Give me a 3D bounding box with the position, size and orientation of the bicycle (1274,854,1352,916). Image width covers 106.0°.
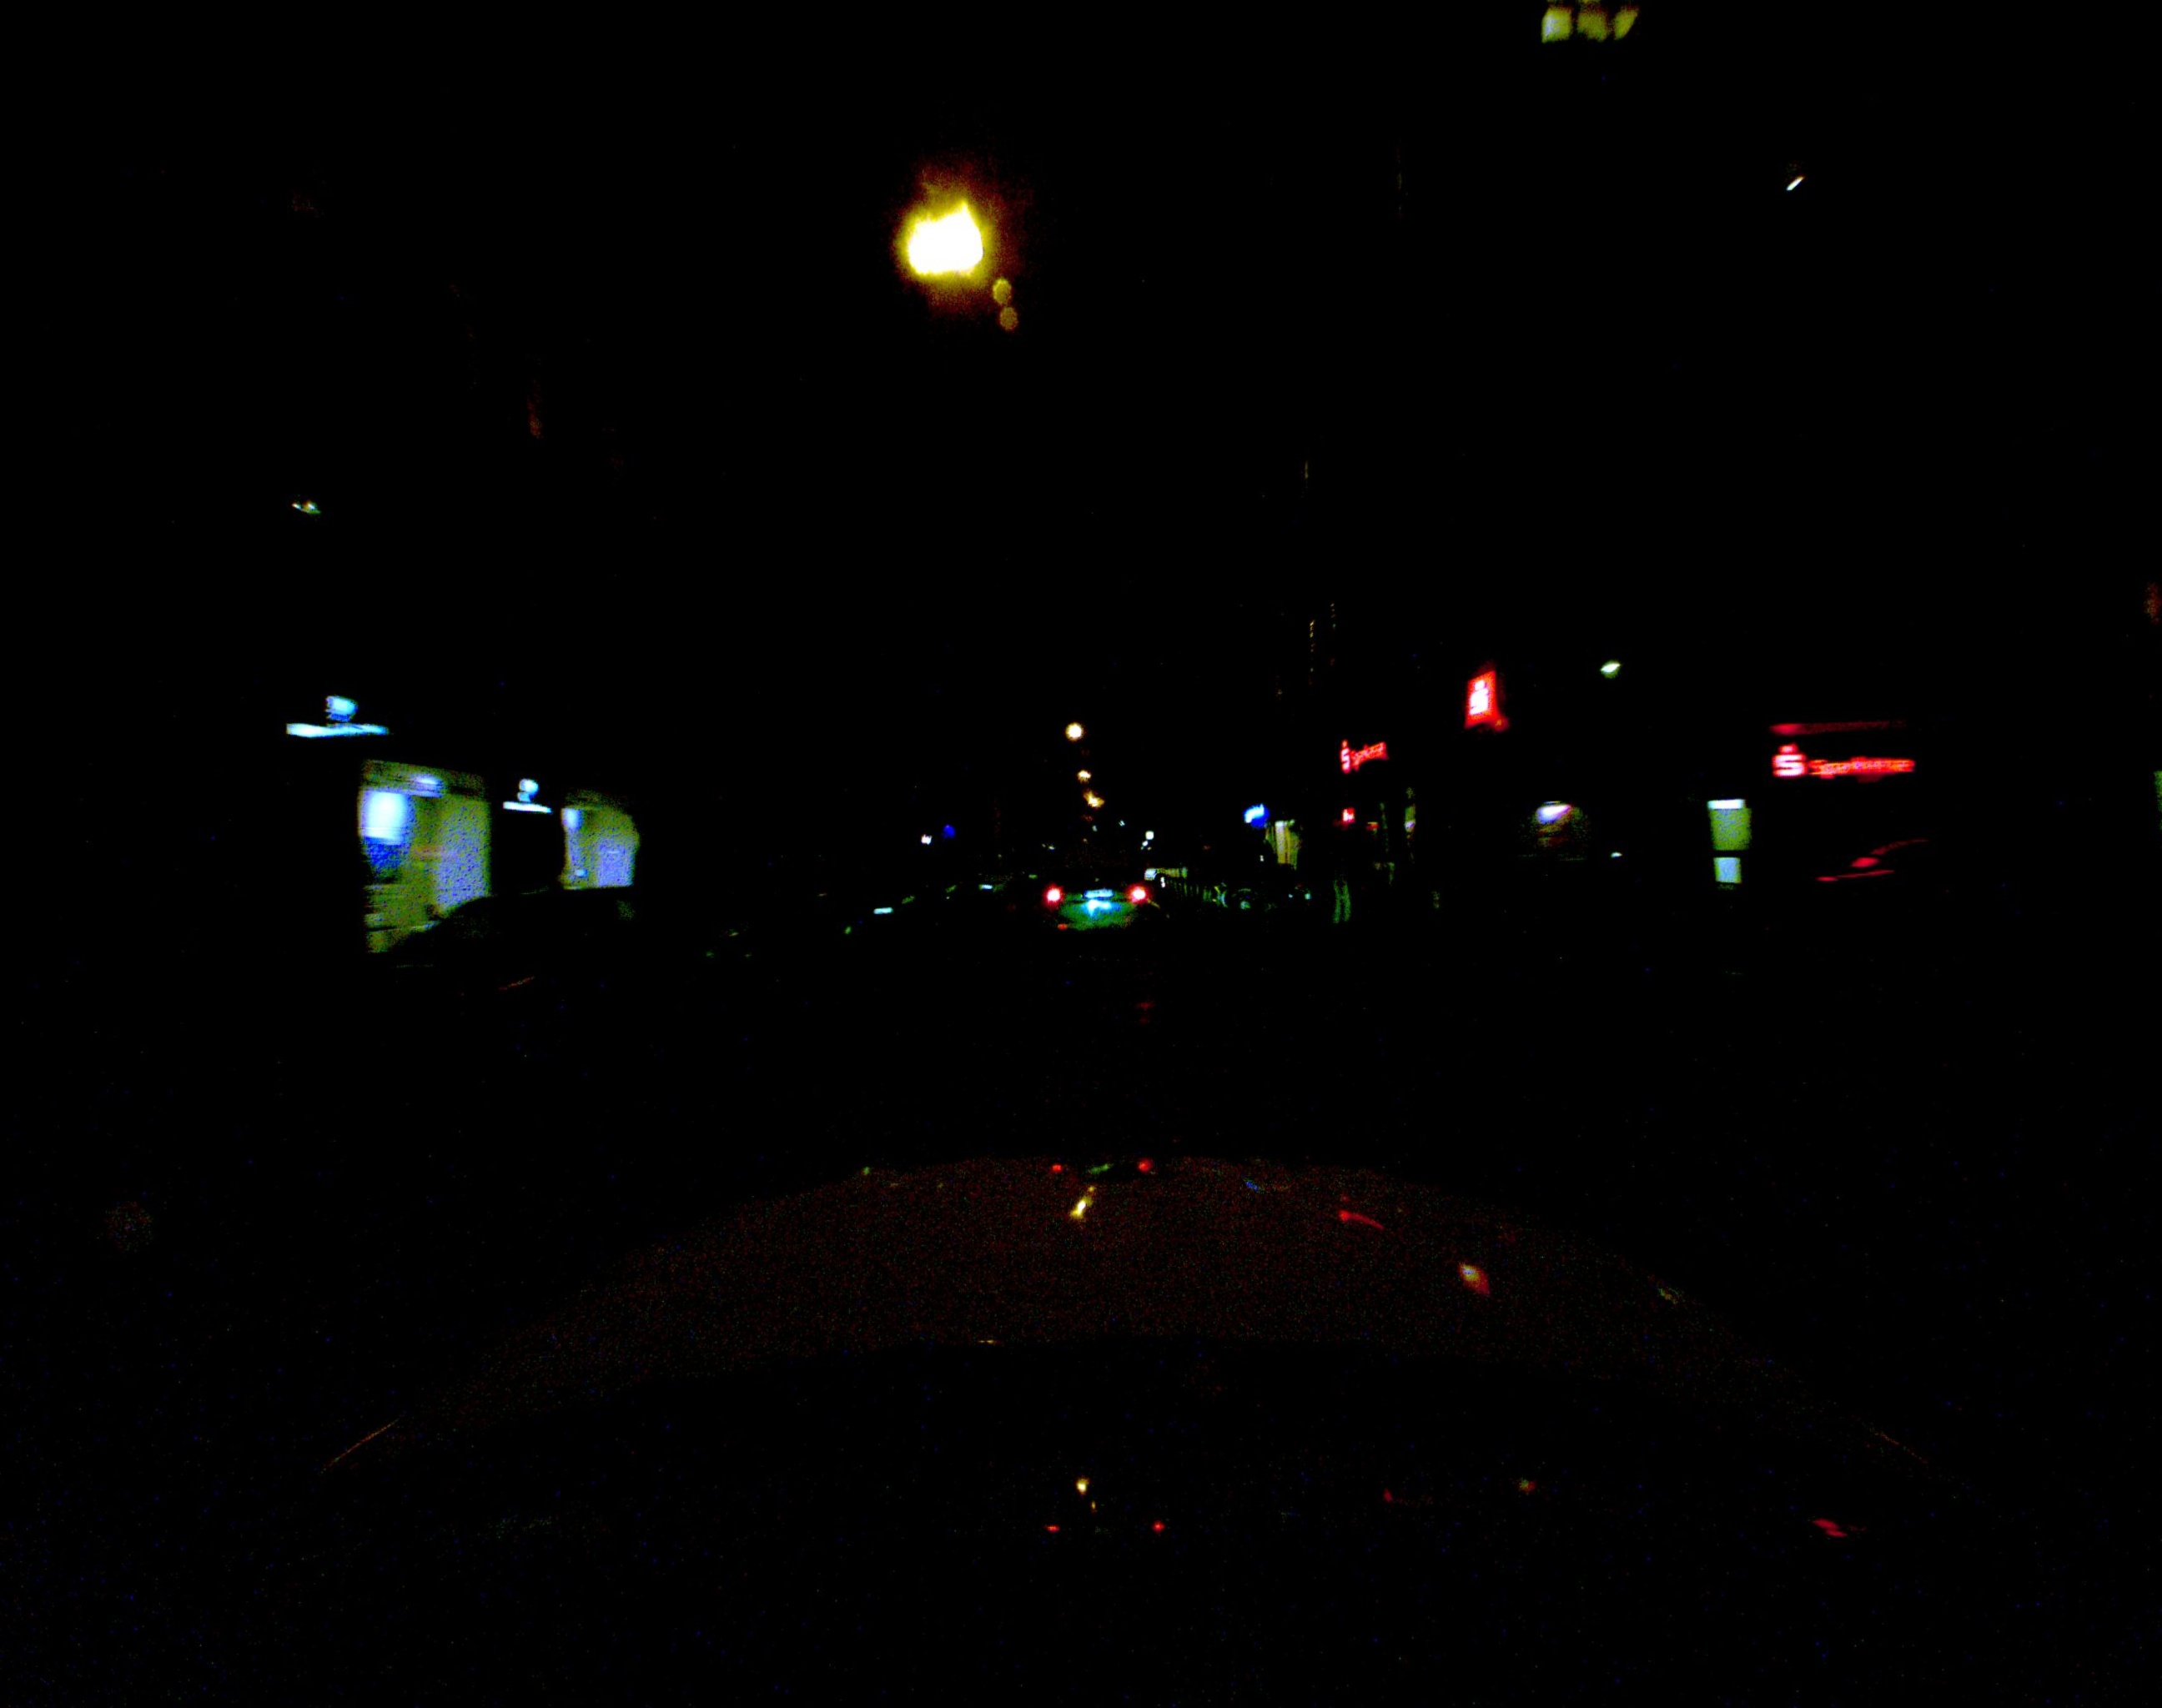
[{"bbox_3d":[5.268,0.706,18.491,1.524,1.202,0.366,-8,-2,-1],"label":"bicycle"}]

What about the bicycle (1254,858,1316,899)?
[{"bbox_3d":[5.704,0.678,22.783,1.525,0.952,0.366,-8,-2,-3],"label":"bicycle"}]

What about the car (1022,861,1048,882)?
[{"bbox_3d":[-3.472,1.329,62.455,1.666,1.491,3.722,-1,0,1],"label":"car"}]

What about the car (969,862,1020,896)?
[{"bbox_3d":[-4.172,1.163,39.814,1.760,1.483,4.774,1,0,2],"label":"car"}]

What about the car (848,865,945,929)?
[{"bbox_3d":[-4.770,1.055,21.560,1.563,1.460,3.721,-2,0,2],"label":"car"}]

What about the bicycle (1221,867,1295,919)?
[{"bbox_3d":[4.156,0.906,19.153,1.524,1.023,0.366,-8,-2,-1],"label":"bicycle"}]

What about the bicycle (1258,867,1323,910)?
[{"bbox_3d":[5.583,0.913,21.705,1.525,0.952,0.366,-8,-2,-3],"label":"bicycle"}]

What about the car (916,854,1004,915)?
[{"bbox_3d":[-4.001,0.938,27.768,1.988,1.829,5.209,-2,0,2],"label":"car"}]

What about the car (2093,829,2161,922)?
[{"bbox_3d":[18.740,0.313,12.464,4.129,1.434,1.844,-1,0,2],"label":"car"}]

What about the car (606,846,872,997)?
[{"bbox_3d":[-4.903,0.853,12.607,1.895,1.829,4.831,-2,0,2],"label":"car"}]

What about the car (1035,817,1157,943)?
[{"bbox_3d":[0.338,0.448,15.998,1.988,2.049,4.696,-2,0,2],"label":"car"}]

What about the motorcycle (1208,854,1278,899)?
[{"bbox_3d":[5.585,0.759,28.205,2.165,1.318,0.867,-6,-1,0],"label":"motorcycle"}]

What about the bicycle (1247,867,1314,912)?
[{"bbox_3d":[5.104,0.900,20.894,1.521,0.952,0.367,-8,-2,5],"label":"bicycle"}]

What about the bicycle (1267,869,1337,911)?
[{"bbox_3d":[5.411,0.881,19.990,1.521,0.833,0.326,-8,-2,5],"label":"bicycle"}]

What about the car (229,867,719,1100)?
[{"bbox_3d":[-5.191,0.964,7.710,1.720,1.575,3.721,-2,0,2],"label":"car"}]

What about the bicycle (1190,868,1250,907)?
[{"bbox_3d":[4.219,1.014,24.730,1.660,0.952,0.367,-8,-2,8],"label":"bicycle"}]

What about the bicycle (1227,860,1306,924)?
[{"bbox_3d":[4.105,0.832,18.023,1.524,1.202,0.366,-8,-2,-1],"label":"bicycle"}]

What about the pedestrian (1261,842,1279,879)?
[{"bbox_3d":[9.524,0.322,41.093,0.699,1.788,0.625,-4,0,4],"label":"pedestrian"}]

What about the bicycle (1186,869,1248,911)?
[{"bbox_3d":[3.707,0.984,22.279,1.525,0.952,0.366,-8,-2,-3],"label":"bicycle"}]

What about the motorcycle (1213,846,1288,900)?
[{"bbox_3d":[5.572,0.627,26.870,2.165,1.547,0.867,-6,-1,0],"label":"motorcycle"}]

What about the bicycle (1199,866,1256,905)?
[{"bbox_3d":[4.333,0.939,24.096,1.520,0.952,0.367,-8,-2,8],"label":"bicycle"}]

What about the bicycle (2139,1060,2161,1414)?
[{"bbox_3d":[3.268,0.874,1.035,2.244,0.894,0.622,-3,-1,30],"label":"bicycle"}]

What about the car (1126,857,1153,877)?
[{"bbox_3d":[4.677,1.039,65.594,1.986,1.464,4.418,-2,0,1],"label":"car"}]

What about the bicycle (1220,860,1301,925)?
[{"bbox_3d":[3.869,0.824,17.575,1.522,1.202,0.366,-8,-2,3],"label":"bicycle"}]

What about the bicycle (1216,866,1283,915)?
[{"bbox_3d":[4.223,0.925,20.459,1.521,1.023,0.367,-8,-2,5],"label":"bicycle"}]

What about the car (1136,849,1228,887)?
[{"bbox_3d":[5.235,0.734,42.675,4.497,1.530,1.780,-5,-1,0],"label":"car"}]

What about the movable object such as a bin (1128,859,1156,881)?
[{"bbox_3d":[4.117,1.063,55.056,1.347,1.429,1.188,-2,-1,-35],"label":"movable object such as a bin"}]

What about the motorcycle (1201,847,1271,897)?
[{"bbox_3d":[5.714,0.666,30.080,2.280,1.588,0.867,-6,-1,0],"label":"motorcycle"}]

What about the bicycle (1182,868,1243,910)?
[{"bbox_3d":[3.661,0.973,22.720,1.525,0.952,0.366,-8,-2,-3],"label":"bicycle"}]

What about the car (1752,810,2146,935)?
[{"bbox_3d":[13.341,0.278,12.742,4.129,1.770,1.844,-1,0,2],"label":"car"}]

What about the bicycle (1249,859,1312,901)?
[{"bbox_3d":[5.453,0.712,22.283,1.526,0.952,0.366,-8,-2,-4],"label":"bicycle"}]
